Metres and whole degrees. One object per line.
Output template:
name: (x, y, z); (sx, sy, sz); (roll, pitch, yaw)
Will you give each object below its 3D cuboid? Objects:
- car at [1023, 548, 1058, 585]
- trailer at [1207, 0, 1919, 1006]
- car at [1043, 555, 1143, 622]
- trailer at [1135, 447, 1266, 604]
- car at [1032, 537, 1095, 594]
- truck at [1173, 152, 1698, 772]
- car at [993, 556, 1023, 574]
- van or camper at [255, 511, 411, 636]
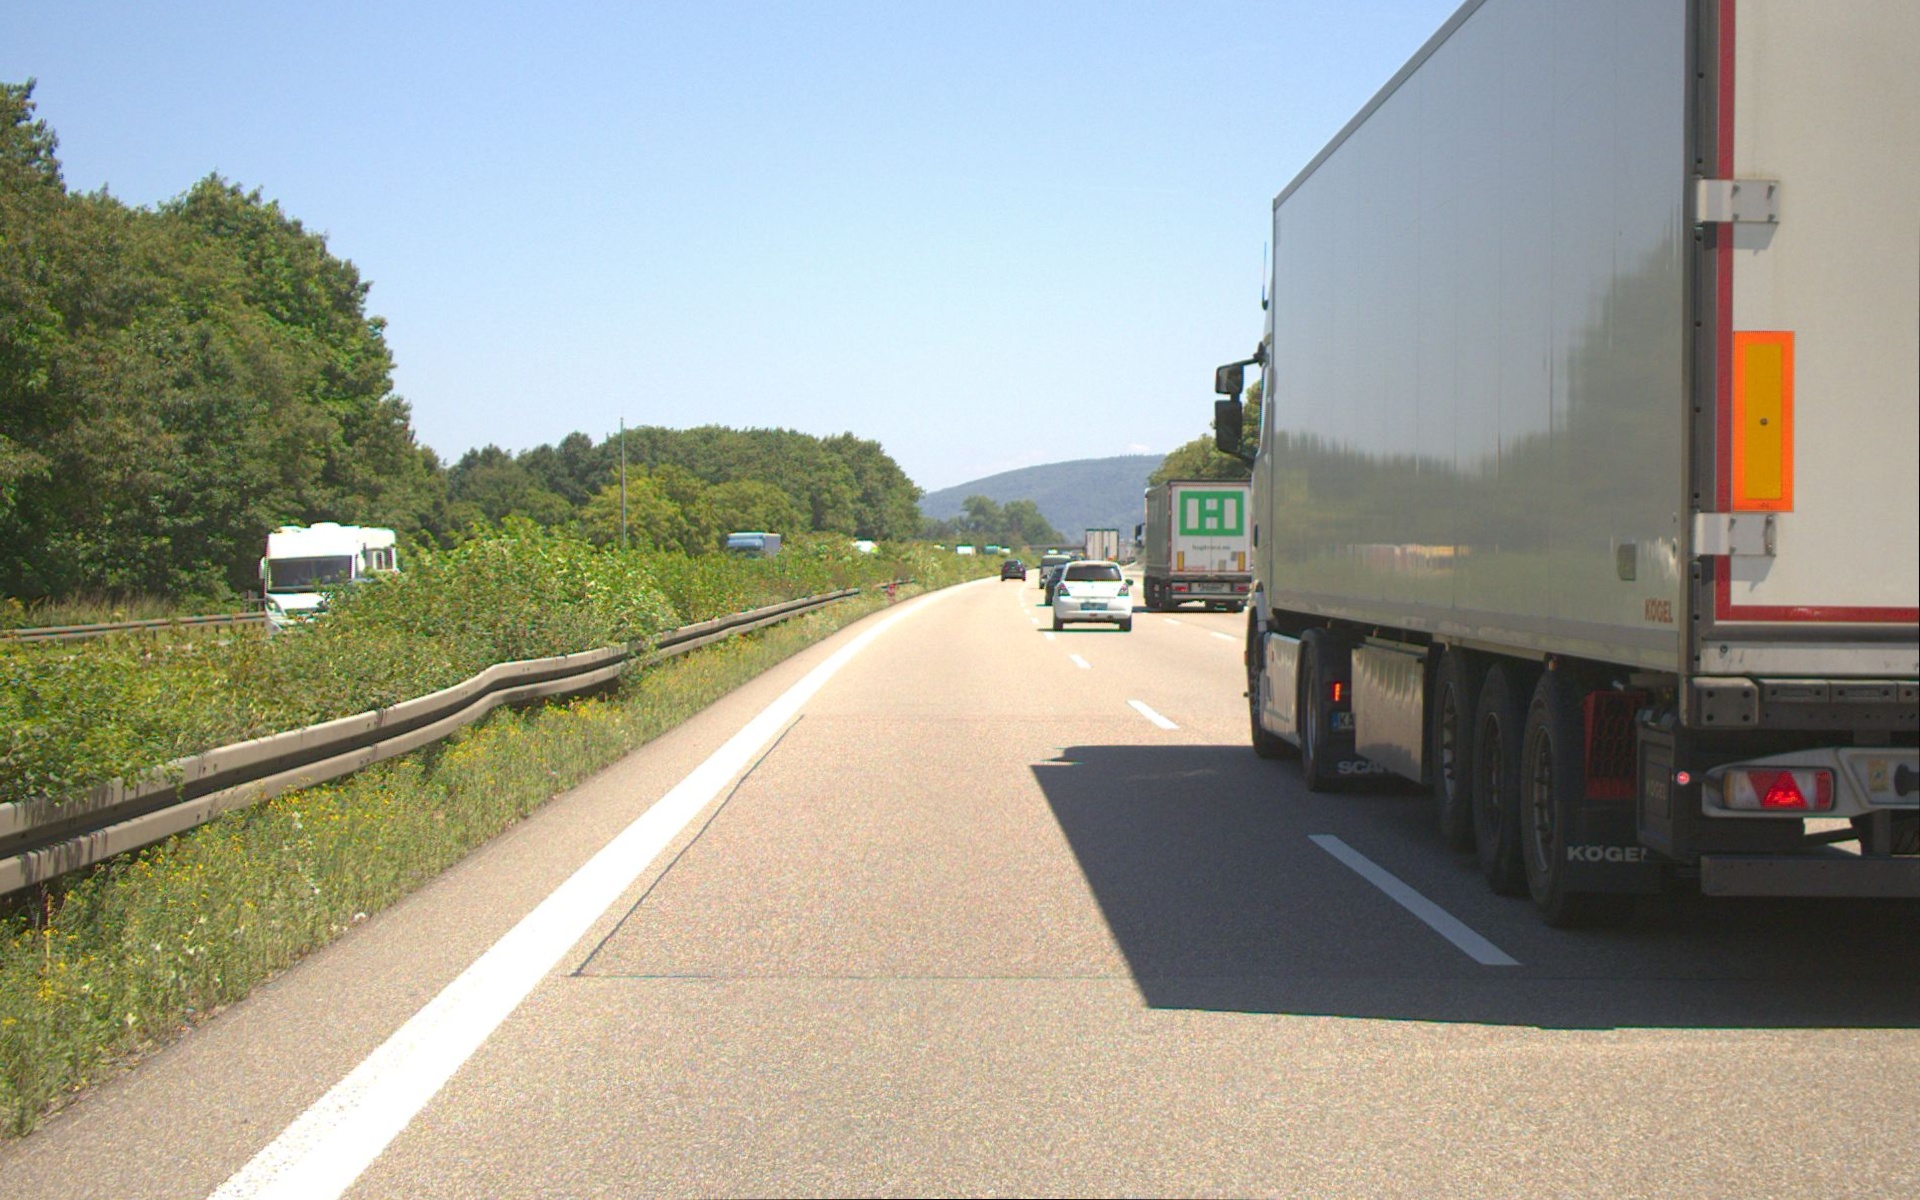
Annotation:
car: (4.501, -1.898, 193.074); (1.882, 2.007, 4.000); (-1, 1, 0)
trailer: (3.327, -0.825, 17.627); (3.223, 4.129, 12.352); (0, 1, 0)
car: (2.887, -0.265, 75.093); (1.811, 1.400, 3.318); (0, 1, -4)
trailer: (7.410, -2.271, 107.582); (3.182, 4.611, 12.050); (0, 1, 0)
car: (3.597, -1.191, 118.564); (1.897, 1.886, 3.999); (-1, 0, 5)
truck: (3.335, -0.963, 25.380); (3.229, 4.143, 4.560); (0, 1, 0)
car: (3.598, -2.660, 259.643); (1.882, 1.344, 4.468); (0, 1, -4)
van or camper: (-16.503, -0.737, 91.117); (2.420, 3.101, 9.087); (-1, 1, 0)
